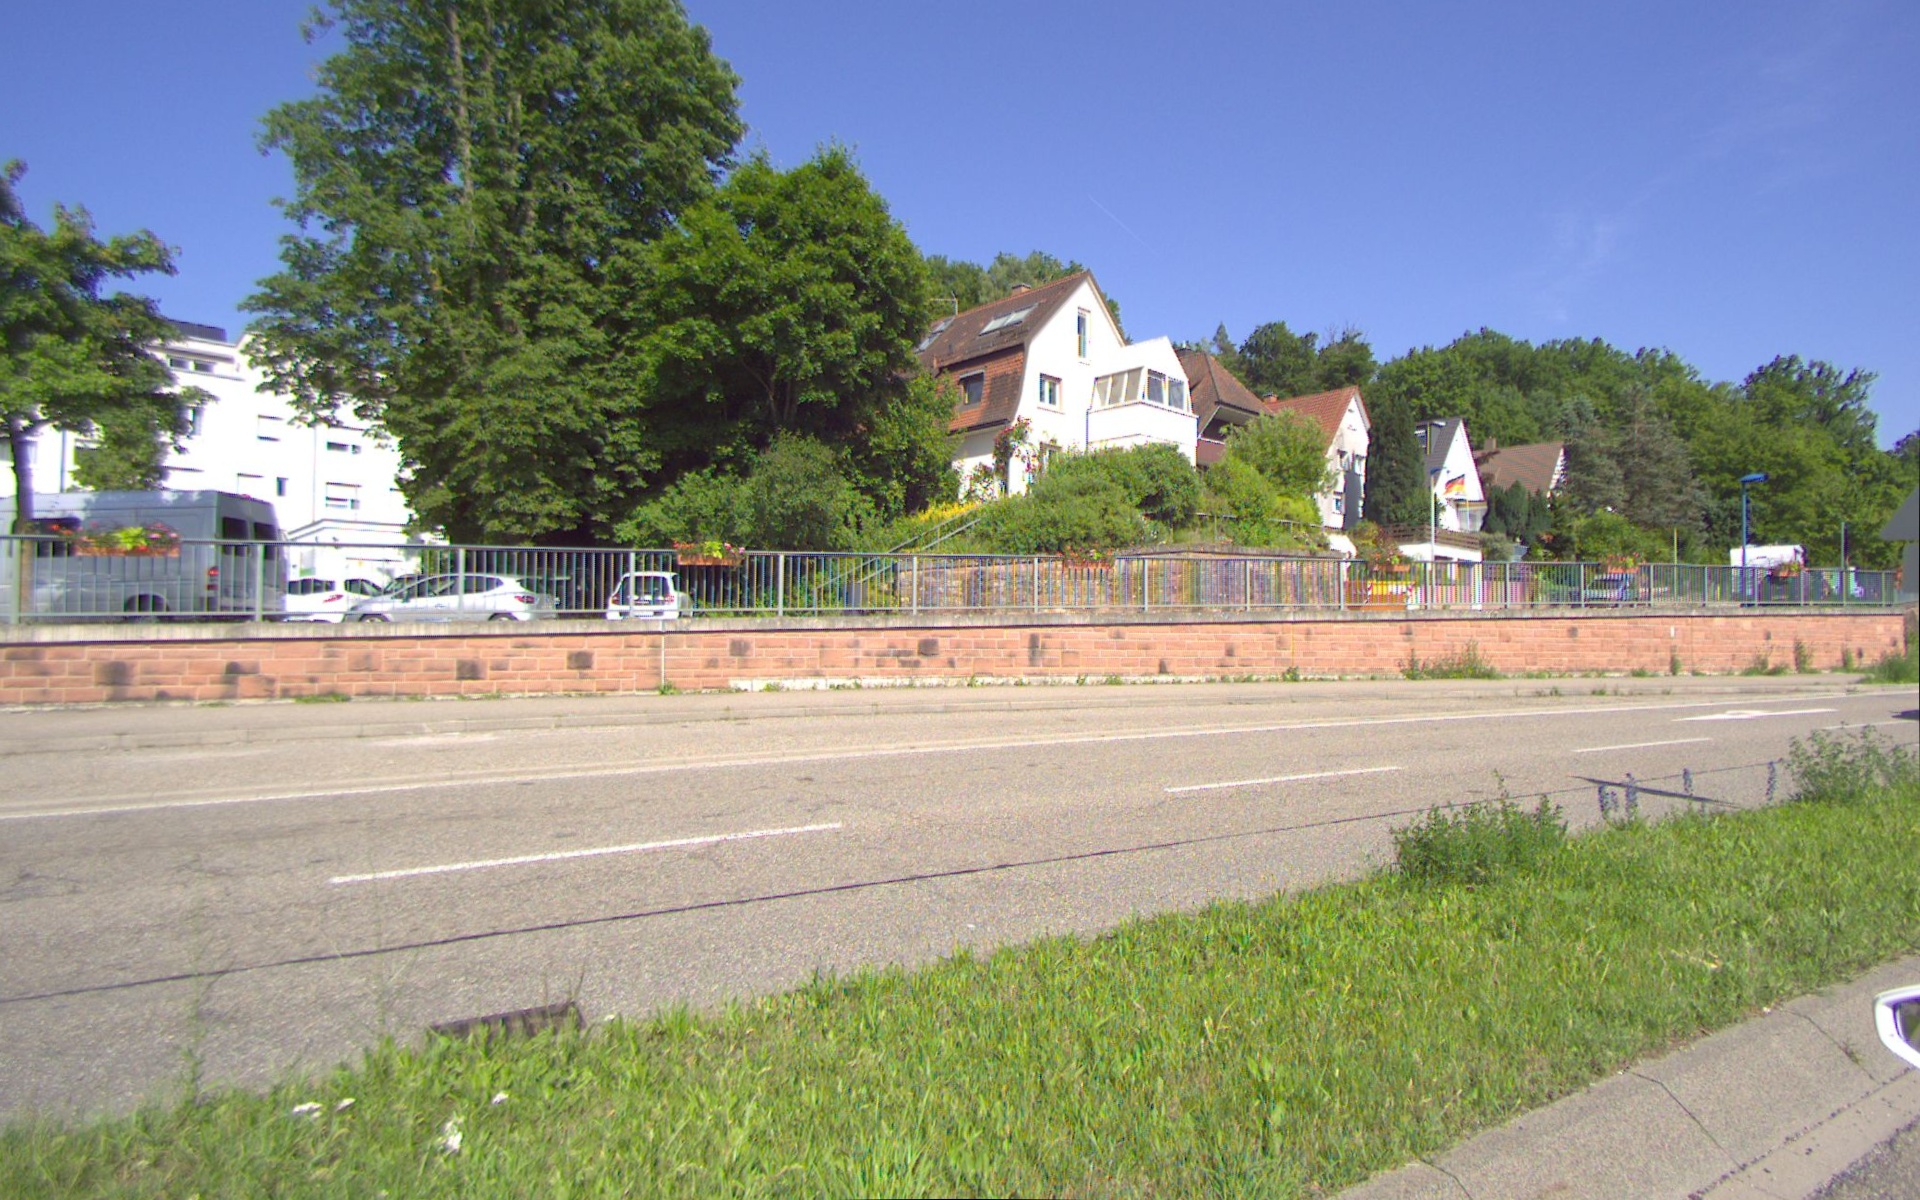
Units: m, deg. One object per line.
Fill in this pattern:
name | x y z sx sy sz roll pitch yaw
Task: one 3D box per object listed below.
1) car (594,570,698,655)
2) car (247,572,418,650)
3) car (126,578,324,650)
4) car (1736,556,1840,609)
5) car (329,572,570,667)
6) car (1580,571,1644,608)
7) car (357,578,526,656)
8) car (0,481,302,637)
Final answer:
car | -7.617 0.236 24.678 1.879 1.901 3.993 0 1 -9
car | -15.034 0.192 24.348 1.877 1.724 3.996 0 2 -5
car | -17.429 0.266 24.093 1.877 1.581 3.998 1 1 -2
car | 31.779 -0.668 38.510 4.686 1.946 2.006 0 2 -37
car | -10.346 0.390 20.605 3.922 1.813 1.921 1 -1 -2
car | 31.226 -0.463 48.046 1.875 1.651 3.976 0 -1 44
car | -12.176 0.330 23.925 1.961 1.694 3.999 1 1 0
car | -14.820 -0.684 17.120 5.674 2.477 2.098 1 2 -4
